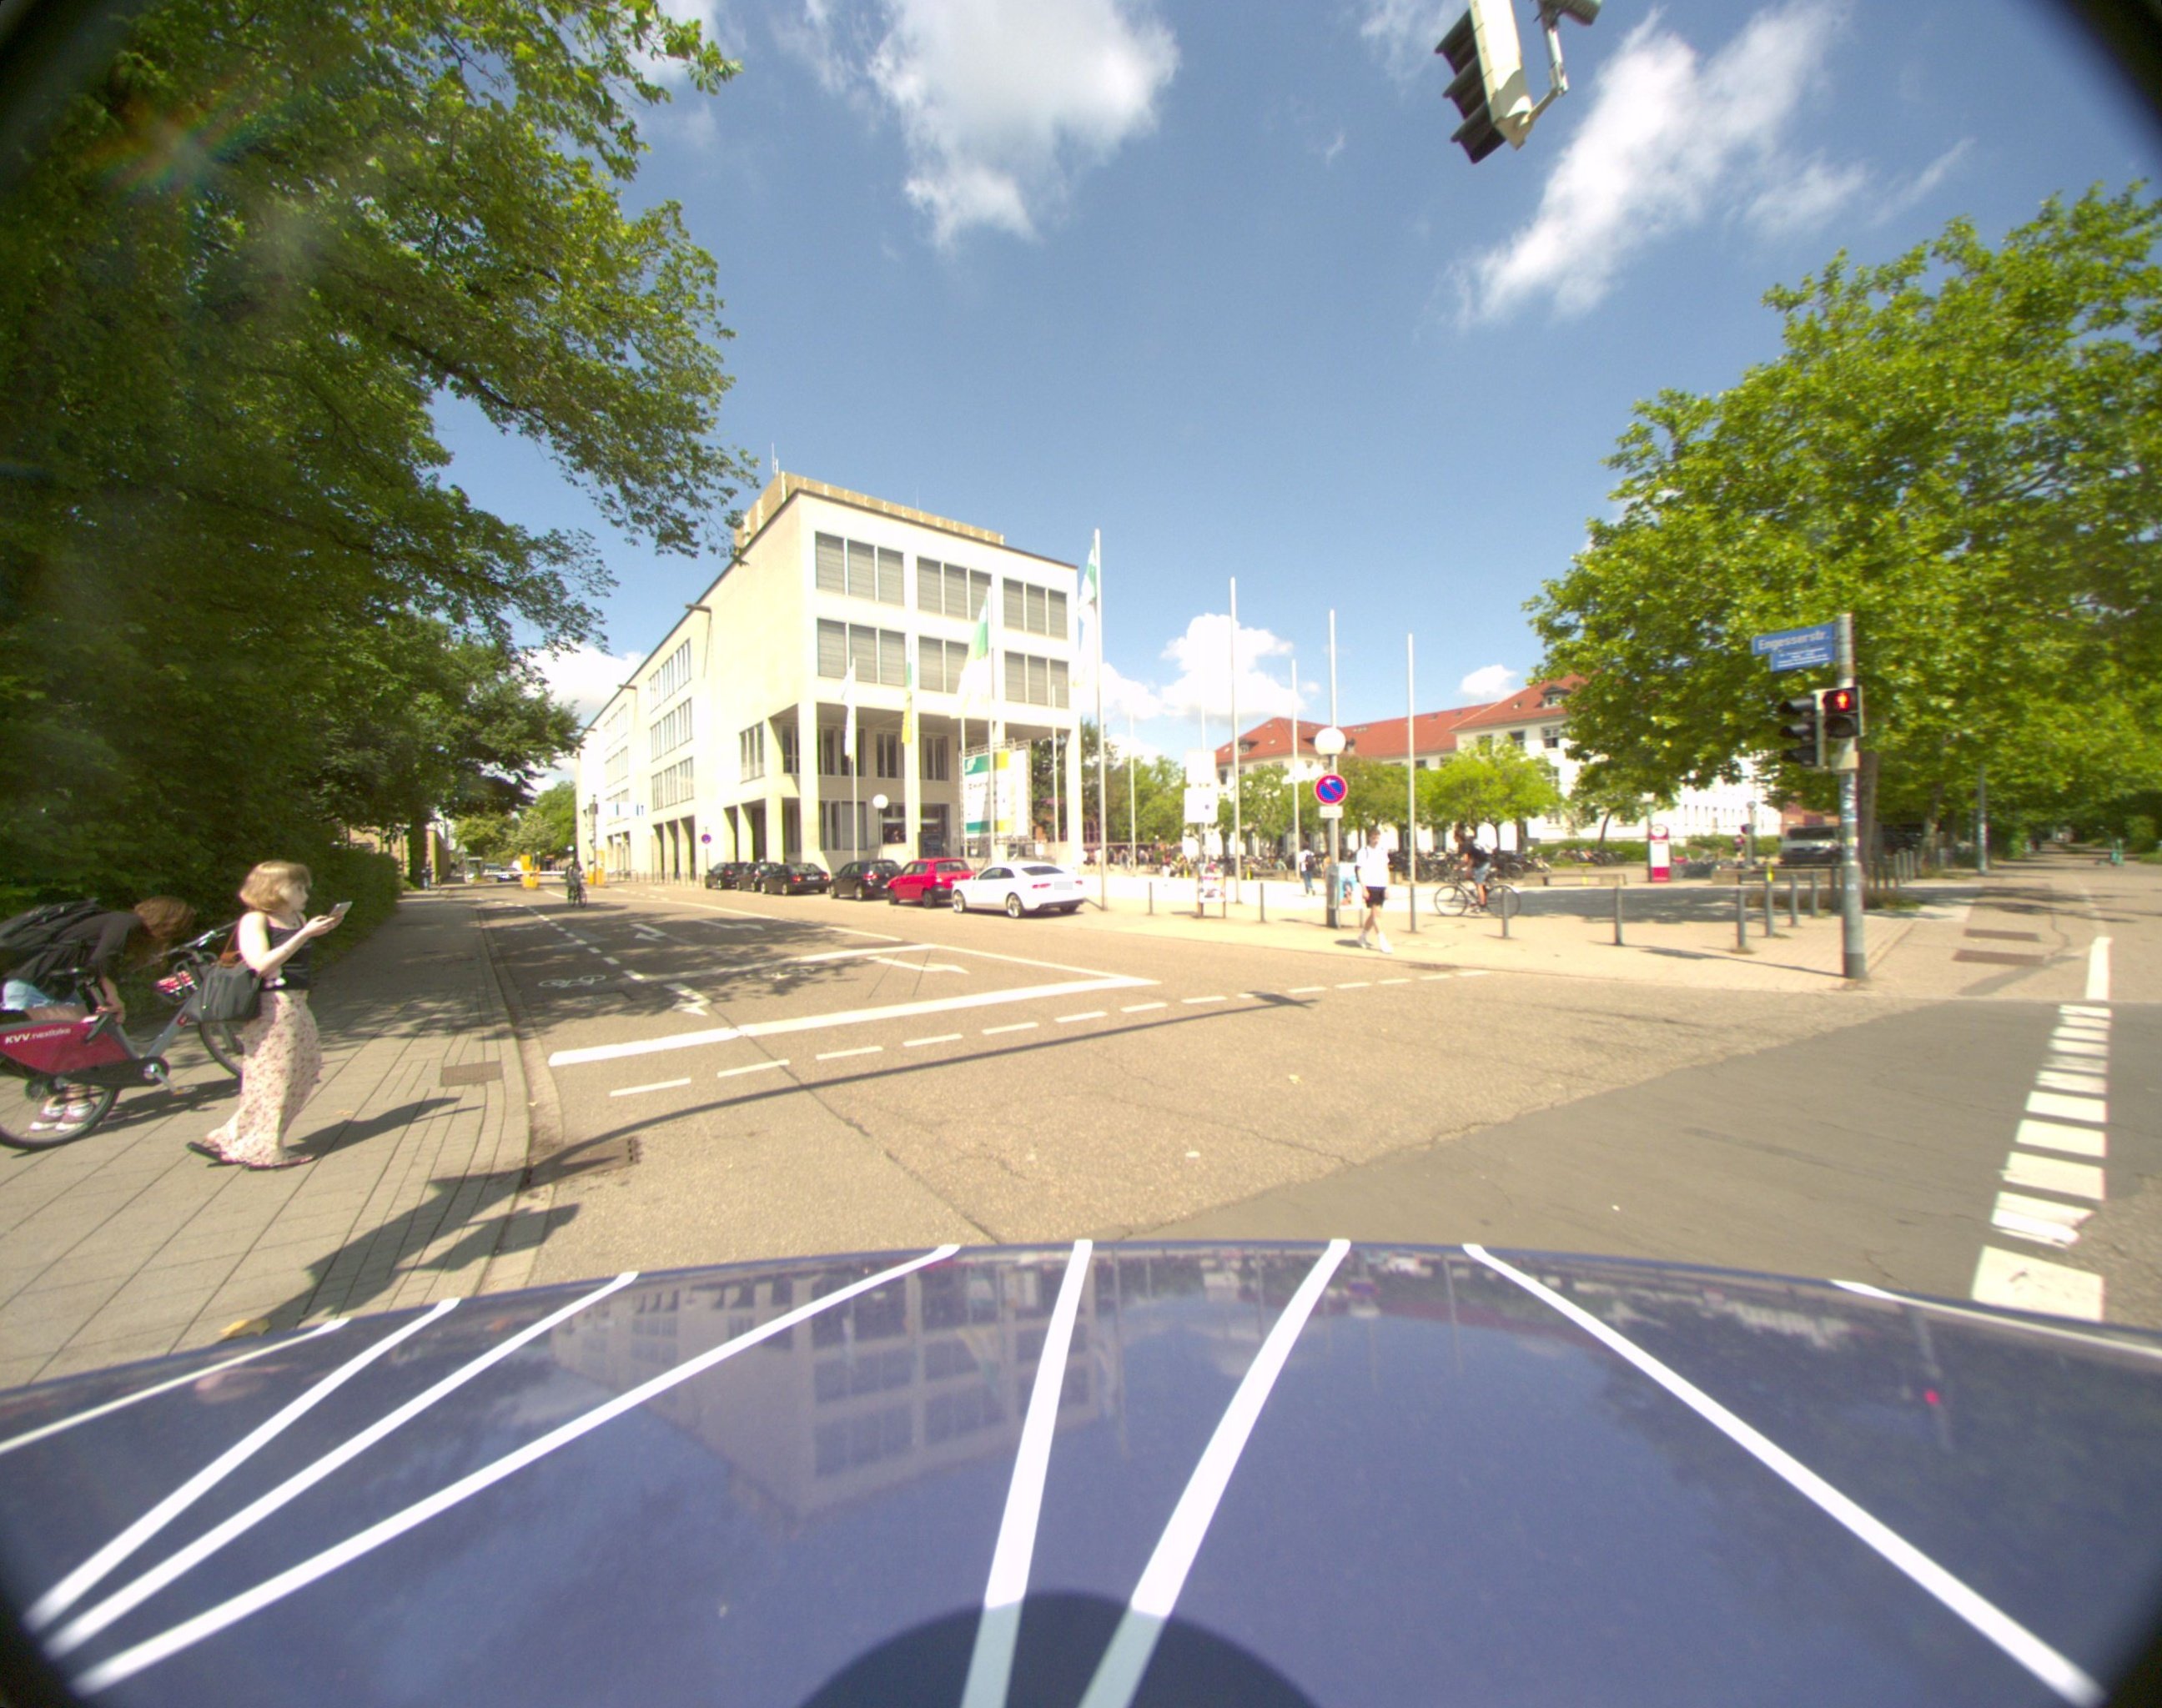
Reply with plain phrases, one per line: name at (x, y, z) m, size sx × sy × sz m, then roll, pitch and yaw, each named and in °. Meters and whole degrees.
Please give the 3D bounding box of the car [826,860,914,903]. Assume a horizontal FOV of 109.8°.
car at (-7.956, 0.981, 28.483) m, size 1.746 × 1.439 × 3.919 m, roll -2°, pitch 1°, yaw -38°

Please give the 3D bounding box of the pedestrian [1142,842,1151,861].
pedestrian at (6.531, -0.258, 75.733) m, size 0.674 × 1.891 × 0.803 m, roll -2°, pitch 1°, yaw 20°

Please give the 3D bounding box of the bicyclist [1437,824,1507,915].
bicyclist at (8.263, 0.325, 16.090) m, size 0.686 × 1.843 × 1.085 m, roll -3°, pitch 1°, yaw -35°

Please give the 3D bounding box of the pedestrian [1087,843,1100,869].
pedestrian at (0.923, 0.166, 57.045) m, size 0.674 × 1.891 × 0.803 m, roll -2°, pitch 1°, yaw 20°

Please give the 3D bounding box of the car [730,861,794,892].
car at (-15.834, 1.093, 37.681) m, size 1.804 × 1.422 × 3.707 m, roll -2°, pitch 1°, yaw -41°

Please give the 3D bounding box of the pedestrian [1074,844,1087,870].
pedestrian at (-0.057, 0.202, 57.201) m, size 0.674 × 1.891 × 0.803 m, roll -2°, pitch 1°, yaw 20°

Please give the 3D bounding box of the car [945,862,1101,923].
car at (-1.657, 0.955, 20.267) m, size 1.837 × 1.389 × 4.430 m, roll -2°, pitch 0°, yaw -40°

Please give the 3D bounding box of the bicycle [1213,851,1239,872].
bicycle at (7.895, 0.413, 41.386) m, size 1.368 × 1.068 × 0.353 m, roll -1°, pitch 1°, yaw 43°

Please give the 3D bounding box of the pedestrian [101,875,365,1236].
pedestrian at (-4.262, 0.932, 3.887) m, size 0.646 × 1.617 × 0.634 m, roll -2°, pitch 1°, yaw -24°

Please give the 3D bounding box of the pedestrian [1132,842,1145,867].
pedestrian at (4.330, 0.033, 57.234) m, size 0.674 × 1.891 × 0.803 m, roll -2°, pitch 1°, yaw 20°

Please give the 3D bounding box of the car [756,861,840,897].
car at (-12.505, 1.067, 33.465) m, size 2.006 × 1.432 × 4.389 m, roll -2°, pitch 1°, yaw -41°

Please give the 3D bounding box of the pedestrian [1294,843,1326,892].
pedestrian at (7.723, 0.446, 25.689) m, size 0.685 × 1.613 × 0.834 m, roll -2°, pitch 1°, yaw -10°

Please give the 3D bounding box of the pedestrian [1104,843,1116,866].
pedestrian at (2.389, 0.051, 62.310) m, size 0.674 × 1.891 × 0.803 m, roll -2°, pitch 1°, yaw 20°

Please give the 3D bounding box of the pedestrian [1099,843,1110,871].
pedestrian at (1.468, 0.179, 47.296) m, size 0.472 × 1.703 × 0.383 m, roll -2°, pitch 1°, yaw 21°

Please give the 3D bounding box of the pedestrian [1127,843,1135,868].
pedestrian at (3.178, 0.083, 48.276) m, size 0.472 × 1.527 × 0.562 m, roll -2°, pitch 1°, yaw 1°

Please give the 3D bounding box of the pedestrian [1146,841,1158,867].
pedestrian at (5.384, -0.013, 57.697) m, size 0.674 × 1.891 × 0.803 m, roll -2°, pitch 1°, yaw 20°

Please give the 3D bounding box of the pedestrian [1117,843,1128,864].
pedestrian at (3.791, -0.081, 69.260) m, size 0.674 × 1.891 × 0.803 m, roll -2°, pitch 1°, yaw 20°

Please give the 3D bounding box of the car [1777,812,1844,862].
car at (32.494, -0.737, 33.803) m, size 4.237 × 2.043 × 1.994 m, roll -2°, pitch 1°, yaw -44°

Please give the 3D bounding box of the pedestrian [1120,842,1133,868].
pedestrian at (3.439, 0.065, 57.398) m, size 0.674 × 1.891 × 0.803 m, roll -2°, pitch 1°, yaw 20°

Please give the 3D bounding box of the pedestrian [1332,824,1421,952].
pedestrian at (4.555, 0.491, 11.723) m, size 0.974 × 1.861 × 0.876 m, roll -2°, pitch 1°, yaw -40°

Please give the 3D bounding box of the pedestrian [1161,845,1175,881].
pedestrian at (3.830, 0.393, 33.595) m, size 0.538 × 1.581 × 0.436 m, roll -2°, pitch 1°, yaw 1°

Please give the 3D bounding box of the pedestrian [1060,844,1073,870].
pedestrian at (-1.069, 0.235, 57.694) m, size 0.674 × 1.891 × 0.803 m, roll -2°, pitch 1°, yaw 20°

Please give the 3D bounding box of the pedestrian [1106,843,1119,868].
pedestrian at (2.380, 0.112, 56.817) m, size 0.674 × 1.891 × 0.803 m, roll -2°, pitch 1°, yaw 20°

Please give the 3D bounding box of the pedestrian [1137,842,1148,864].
pedestrian at (5.359, -0.117, 66.137) m, size 0.674 × 1.891 × 0.803 m, roll -2°, pitch 1°, yaw 20°

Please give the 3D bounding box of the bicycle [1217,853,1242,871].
bicycle at (8.159, 0.427, 41.755) m, size 1.368 × 0.945 × 0.353 m, roll -1°, pitch 1°, yaw 43°

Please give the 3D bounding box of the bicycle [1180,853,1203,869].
bicycle at (6.432, 0.421, 44.370) m, size 1.368 × 0.945 × 0.353 m, roll -1°, pitch 1°, yaw 43°

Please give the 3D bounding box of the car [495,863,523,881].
car at (-56.204, 1.739, 74.647) m, size 2.004 × 1.619 × 3.989 m, roll -2°, pitch 0°, yaw -39°

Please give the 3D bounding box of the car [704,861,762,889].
car at (-18.730, 1.122, 40.850) m, size 1.694 × 1.388 × 4.135 m, roll -2°, pitch 1°, yaw -41°

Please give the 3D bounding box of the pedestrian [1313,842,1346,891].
pedestrian at (8.462, 0.415, 25.897) m, size 0.685 × 1.613 × 0.834 m, roll -2°, pitch 1°, yaw -12°

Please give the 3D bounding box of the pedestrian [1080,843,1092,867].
pedestrian at (0.436, 0.082, 62.215) m, size 0.674 × 1.891 × 0.803 m, roll -2°, pitch 1°, yaw 20°

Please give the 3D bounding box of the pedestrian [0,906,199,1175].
pedestrian at (-6.043, 1.043, 4.523) m, size 0.655 × 1.409 × 0.788 m, roll 1°, pitch 1°, yaw 0°

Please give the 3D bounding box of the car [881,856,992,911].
car at (-4.701, 0.895, 24.362) m, size 1.776 × 1.548 × 3.807 m, roll -2°, pitch 1°, yaw -41°

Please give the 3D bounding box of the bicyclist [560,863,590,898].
bicyclist at (-18.096, 0.950, 27.194) m, size 0.831 × 1.219 × 0.620 m, roll -1°, pitch 1°, yaw 37°

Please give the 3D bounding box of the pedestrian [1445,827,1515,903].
pedestrian at (10.036, 0.281, 19.143) m, size 0.702 × 1.837 × 1.318 m, roll -2°, pitch -1°, yaw -38°
